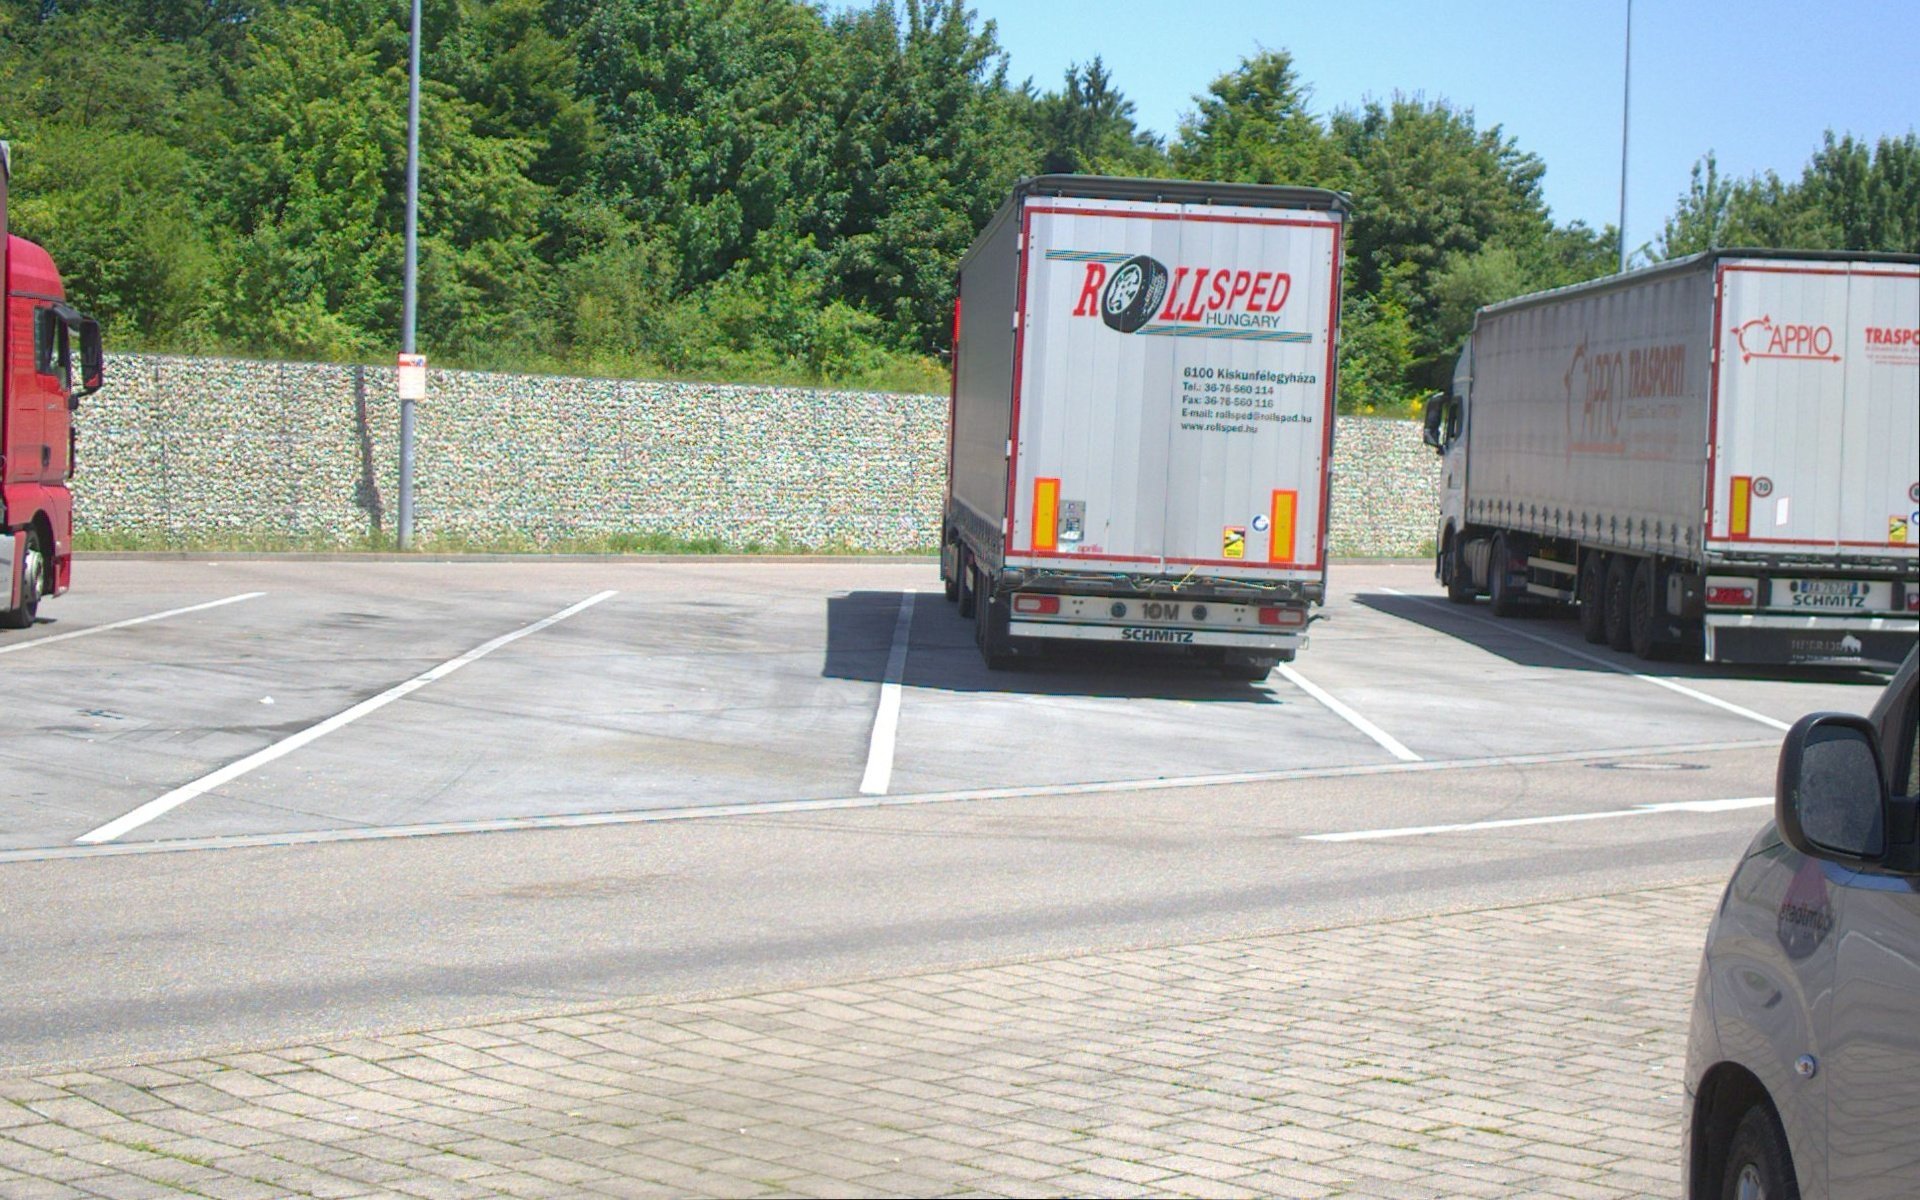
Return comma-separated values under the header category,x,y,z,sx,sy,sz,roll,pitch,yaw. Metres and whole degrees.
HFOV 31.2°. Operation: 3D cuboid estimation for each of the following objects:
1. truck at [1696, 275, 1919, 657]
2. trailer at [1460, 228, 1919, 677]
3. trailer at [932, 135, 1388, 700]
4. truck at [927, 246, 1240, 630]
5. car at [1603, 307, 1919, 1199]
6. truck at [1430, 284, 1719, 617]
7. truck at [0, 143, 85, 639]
category,x,y,z,sx,sy,sz,roll,pitch,yaw
truck,11.723,-1.487,39.811,2.904,4.110,14.528,3,2,-1
trailer,8.134,-1.585,38.479,2.876,4.110,13.572,1,2,-1
trailer,1.471,-1.705,32.642,3.069,4.213,12.810,2,3,-2
truck,1.256,-1.864,39.410,3.026,3.915,6.847,2,3,-2
car,2.131,0.537,3.799,1.825,1.747,4.001,1,2,-4
truck,8.019,-1.950,45.476,2.757,4.110,5.285,1,2,-1
truck,-9.238,-1.706,27.659,2.743,4.067,6.830,1,2,-1
